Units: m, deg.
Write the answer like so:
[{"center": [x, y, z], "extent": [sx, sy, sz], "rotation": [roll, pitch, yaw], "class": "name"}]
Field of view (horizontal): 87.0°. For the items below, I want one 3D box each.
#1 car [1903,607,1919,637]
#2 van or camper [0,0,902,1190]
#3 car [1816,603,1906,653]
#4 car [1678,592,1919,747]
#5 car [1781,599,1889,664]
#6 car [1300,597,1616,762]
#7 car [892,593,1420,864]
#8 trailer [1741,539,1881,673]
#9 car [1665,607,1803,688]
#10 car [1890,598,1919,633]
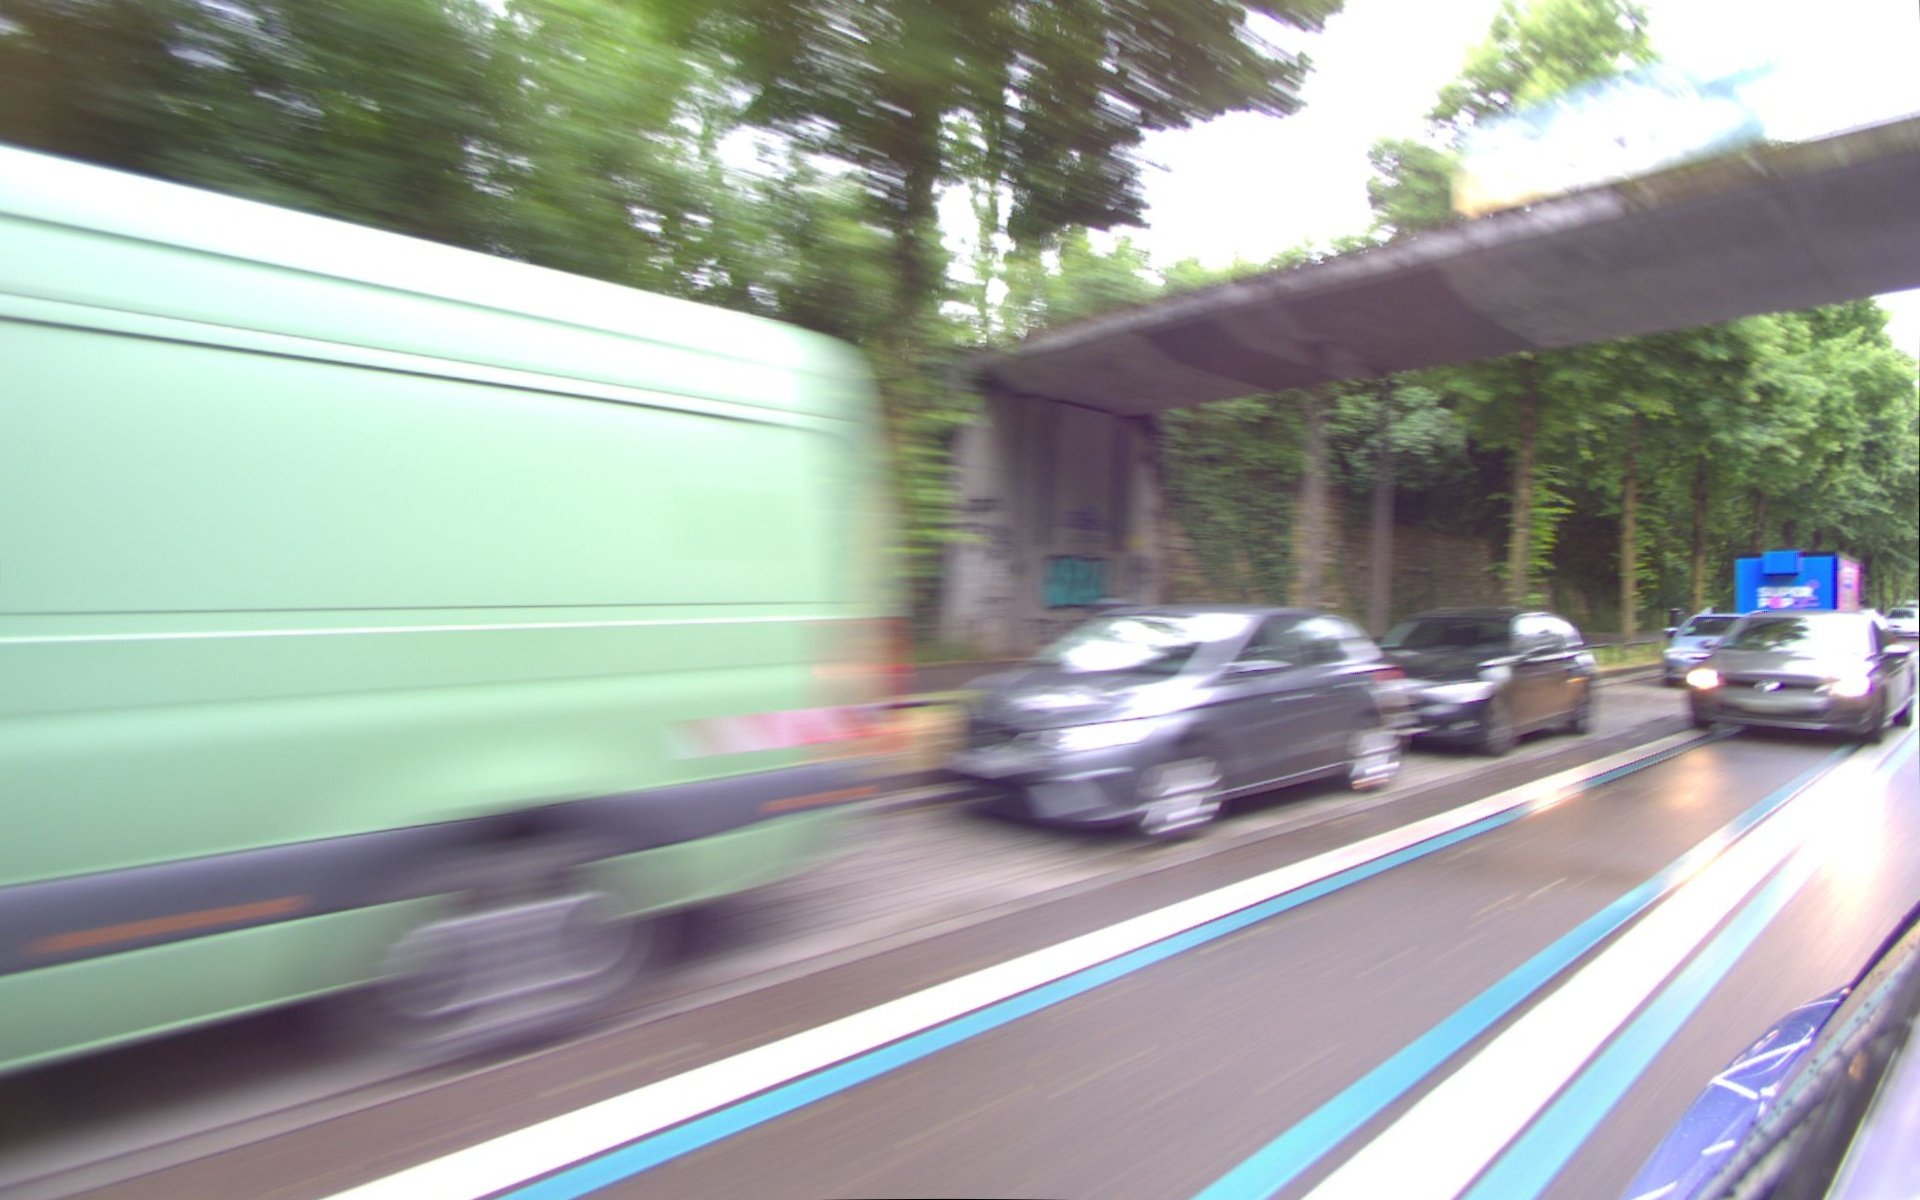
[{"center": [50.967, 1.147, 53.142], "extent": [4.391, 1.533, 1.700], "rotation": [1, 0, -41], "class": "car"}, {"center": [-3.396, -0.024, 2.647], "extent": [6.784, 2.764, 2.044], "rotation": [1, -1, -44], "class": "van or camper"}, {"center": [30.163, 0.883, 33.833], "extent": [4.493, 1.522, 1.828], "rotation": [1, 1, -43], "class": "car"}, {"center": [10.359, 0.713, 12.276], "extent": [4.067, 1.527, 1.821], "rotation": [1, 1, -42], "class": "car"}, {"center": [23.650, 0.796, 27.291], "extent": [1.900, 1.567, 4.678], "rotation": [1, 1, 45], "class": "car"}, {"center": [5.550, 0.722, 11.034], "extent": [4.125, 1.434, 1.688], "rotation": [1, 1, -42], "class": "car"}, {"center": [1.611, 0.688, 7.391], "extent": [4.029, 1.434, 1.689], "rotation": [0, 0, -42], "class": "car"}, {"center": [19.511, 0.125, 23.148], "extent": [3.939, 2.793, 1.955], "rotation": [1, 0, -43], "class": "trailer"}, {"center": [14.592, 0.817, 19.006], "extent": [1.585, 1.370, 3.800], "rotation": [0, 0, 45], "class": "car"}, {"center": [46.412, 0.758, 48.966], "extent": [4.660, 1.617, 1.755], "rotation": [1, 0, -43], "class": "car"}]
